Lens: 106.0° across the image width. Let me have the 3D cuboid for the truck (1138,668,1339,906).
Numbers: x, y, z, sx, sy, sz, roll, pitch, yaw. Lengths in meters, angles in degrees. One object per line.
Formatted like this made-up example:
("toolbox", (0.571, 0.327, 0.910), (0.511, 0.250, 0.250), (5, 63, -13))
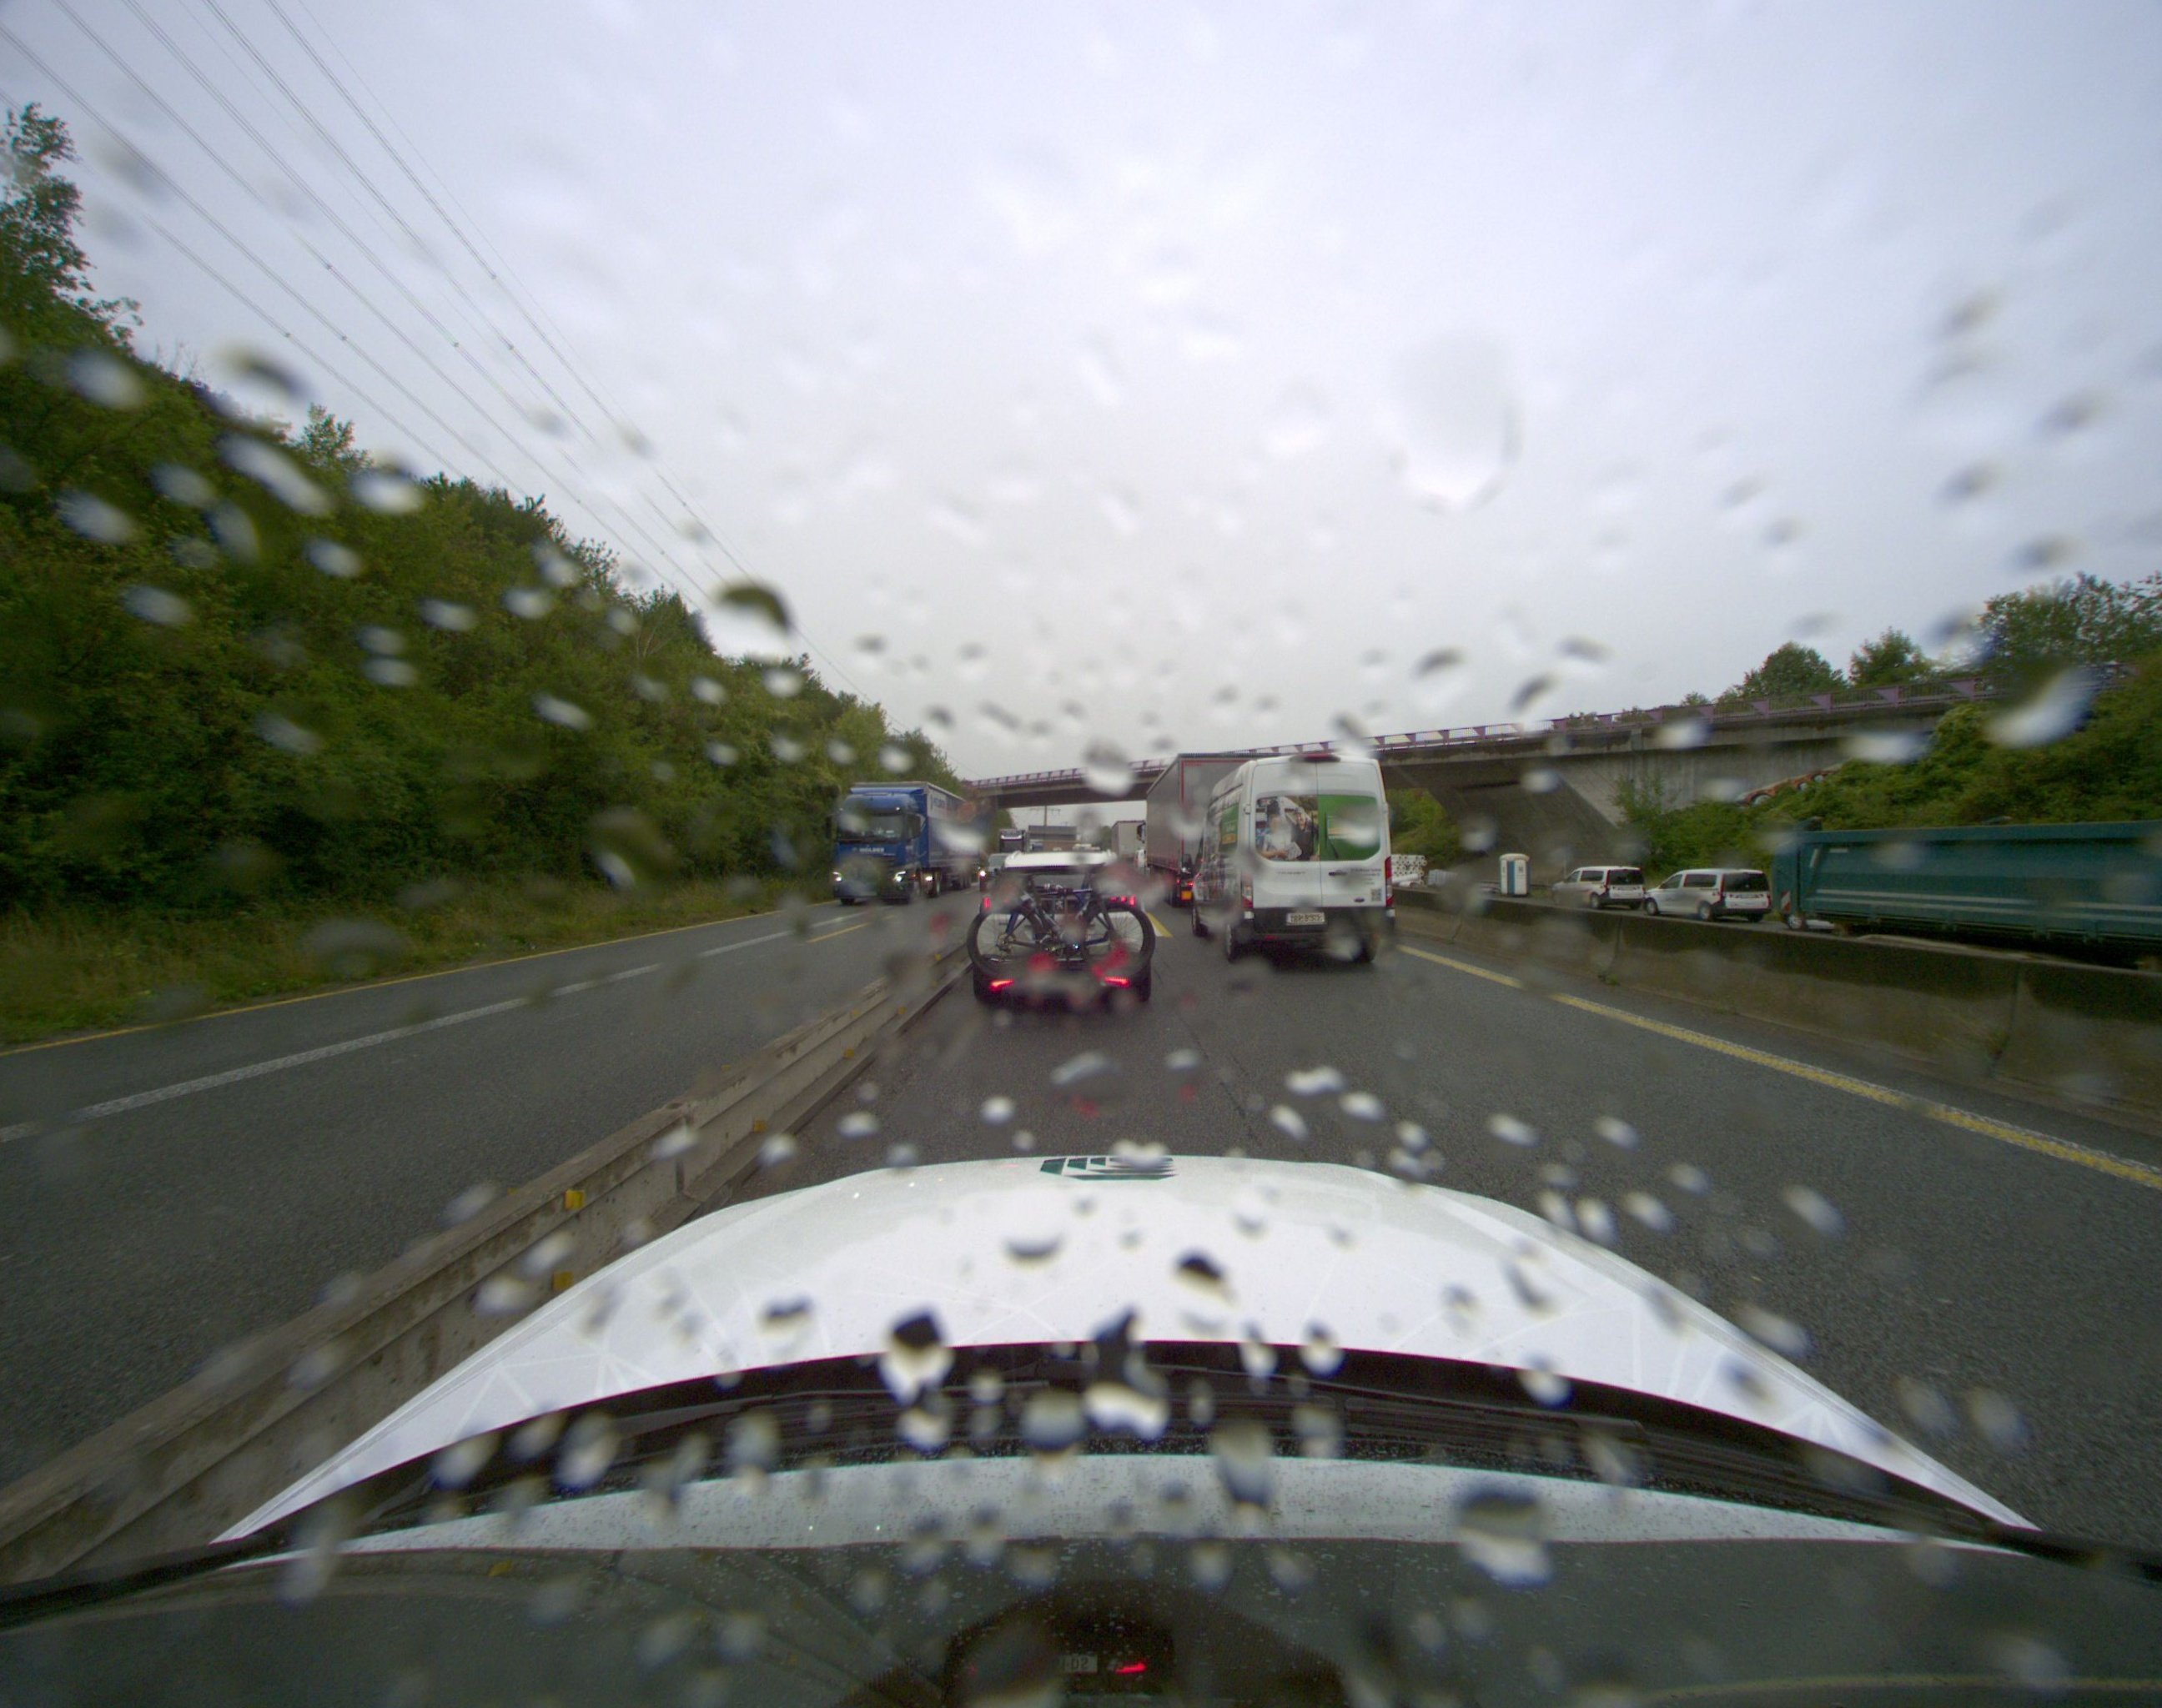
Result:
("truck", (4.485, -1.536, 29.713), (3.965, 5.673, 20.383), (-1, 0, 2))

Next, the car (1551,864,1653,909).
("car", (22.413, 1.337, 35.220), (1.840, 1.809, 4.158), (-1, 0, 2))

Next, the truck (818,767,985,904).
("truck", (-6.431, -0.497, 33.062), (2.756, 4.123, 16.927), (-1, 0, 1))

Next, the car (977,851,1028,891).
("car", (-3.373, 0.709, 35.494), (1.777, 1.610, 4.104), (-1, 0, 0))

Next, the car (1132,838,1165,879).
("car", (3.822, 0.259, 46.700), (1.663, 2.180, 4.538), (-1, 0, 3))

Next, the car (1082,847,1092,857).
("car", (1.288, -0.409, 167.011), (1.986, 2.014, 4.001), (-1, 0, 2))

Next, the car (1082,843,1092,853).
("car", (1.341, -1.312, 180.138), (2.231, 2.307, 4.573), (-1, 0, 2))

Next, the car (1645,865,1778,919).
("car", (22.228, 1.297, 28.951), (1.721, 1.745, 4.128), (-1, 0, 4))

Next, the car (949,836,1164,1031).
("car", (-0.102, 0.688, 9.192), (1.803, 1.637, 4.638), (-1, 0, 3))

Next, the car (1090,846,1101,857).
("car", (2.613, -0.450, 147.977), (1.986, 2.014, 4.000), (-1, 0, 1))

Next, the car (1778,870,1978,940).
("car", (22.198, 1.354, 22.946), (1.722, 1.725, 4.126), (-1, 0, 3))

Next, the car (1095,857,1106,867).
("car", (3.161, 1.307, 130.992), (1.632, 1.497, 3.667), (-1, 0, 2))

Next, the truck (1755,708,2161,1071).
("truck", (10.589, 0.295, 6.812), (2.511, 3.132, 9.121), (-1, 0, 1))

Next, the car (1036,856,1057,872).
("car", (-3.286, 0.916, 78.386), (1.933, 1.494, 3.997), (-1, 0, -2))

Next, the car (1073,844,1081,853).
("car", (-1.023, -1.460, 210.964), (1.986, 2.126, 4.528), (-1, 0, 2))

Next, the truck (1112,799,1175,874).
("truck", (5.263, -1.269, 72.158), (4.724, 5.673, 20.389), (-1, 0, 3))

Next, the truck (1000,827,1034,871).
("truck", (-6.375, -0.446, 82.379), (2.456, 4.123, 10.087), (-1, 0, 0))

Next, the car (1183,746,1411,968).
("car", (2.998, 0.057, 12.944), (2.136, 2.676, 6.119), (-1, 0, 1))
